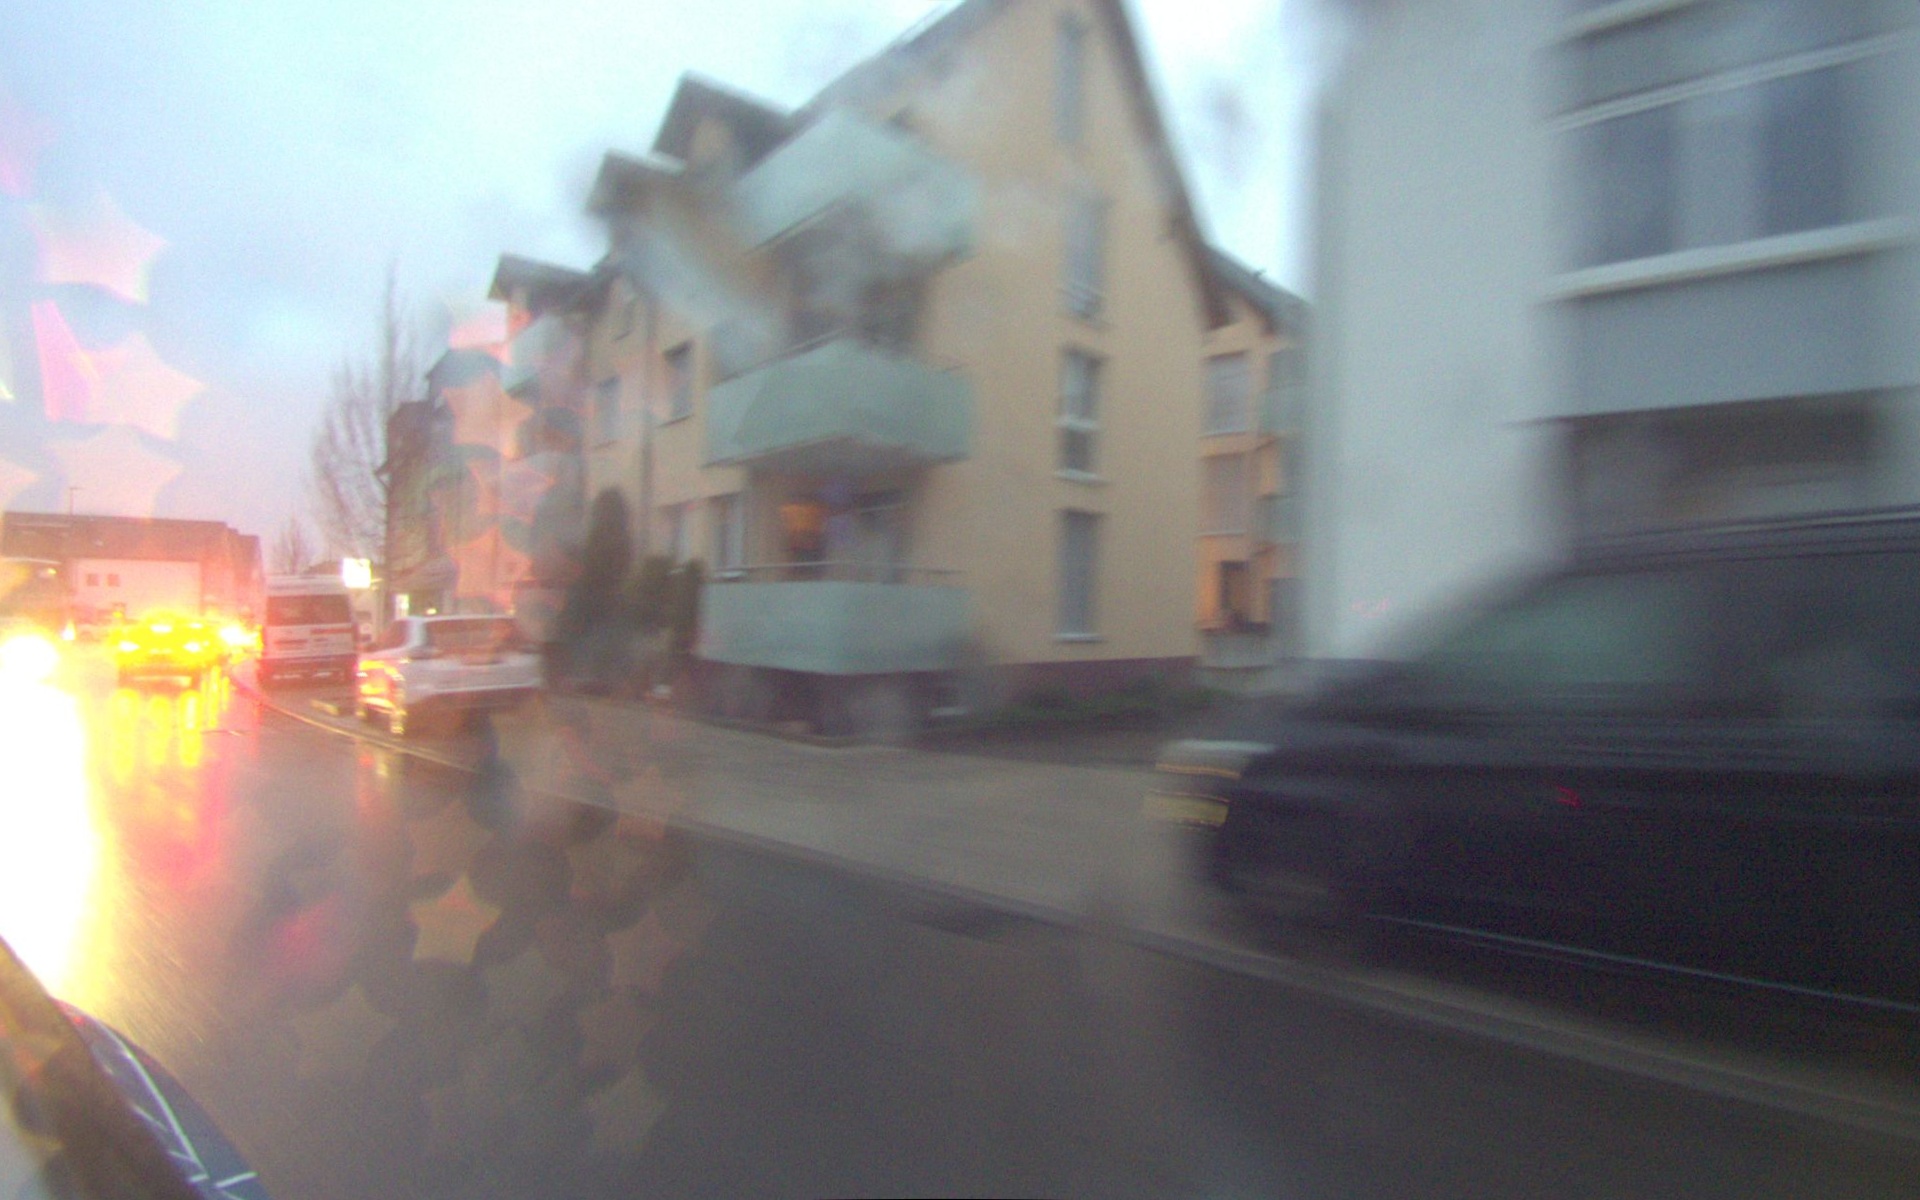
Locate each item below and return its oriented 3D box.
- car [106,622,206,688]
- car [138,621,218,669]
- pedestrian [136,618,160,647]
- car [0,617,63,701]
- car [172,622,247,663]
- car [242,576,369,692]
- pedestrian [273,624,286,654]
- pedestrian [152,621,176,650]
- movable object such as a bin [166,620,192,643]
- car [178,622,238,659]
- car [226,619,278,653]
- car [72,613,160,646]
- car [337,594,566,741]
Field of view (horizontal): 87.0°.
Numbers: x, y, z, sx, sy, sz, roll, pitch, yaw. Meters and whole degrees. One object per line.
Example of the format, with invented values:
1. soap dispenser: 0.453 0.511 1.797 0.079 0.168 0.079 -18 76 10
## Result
1. car: -21.346 1.425 26.961 1.892 1.576 4.235 4 -3 -38
2. car: -27.496 1.589 35.698 1.967 1.568 4.268 3 -4 -35
3. pedestrian: -49.613 2.002 61.862 0.824 1.718 0.848 2 -2 -17
4. car: -21.609 1.277 22.428 1.966 1.743 4.011 0 -1 -32
5. car: -30.992 1.775 41.925 1.831 1.568 4.270 3 -4 -28
6. car: -17.015 0.779 26.133 2.452 2.579 6.778 0 0 -35
7. pedestrian: -36.758 2.101 54.664 0.521 1.597 0.578 1 -3 -30
8. pedestrian: -51.384 2.279 65.315 1.010 1.890 0.932 -1 -2 35
9. movable object such as a bin: -60.710 2.457 78.711 1.373 1.656 1.265 4 -3 -31
10. car: -35.409 1.960 47.755 1.925 1.559 4.427 3 -5 -33
11. car: -39.576 2.037 56.674 1.966 1.719 4.981 -1 -2 -30
12. car: -57.158 1.989 68.594 4.033 2.065 2.006 3 -3 -20
13. car: -7.943 0.896 15.485 1.968 1.857 5.312 0 -1 -40
